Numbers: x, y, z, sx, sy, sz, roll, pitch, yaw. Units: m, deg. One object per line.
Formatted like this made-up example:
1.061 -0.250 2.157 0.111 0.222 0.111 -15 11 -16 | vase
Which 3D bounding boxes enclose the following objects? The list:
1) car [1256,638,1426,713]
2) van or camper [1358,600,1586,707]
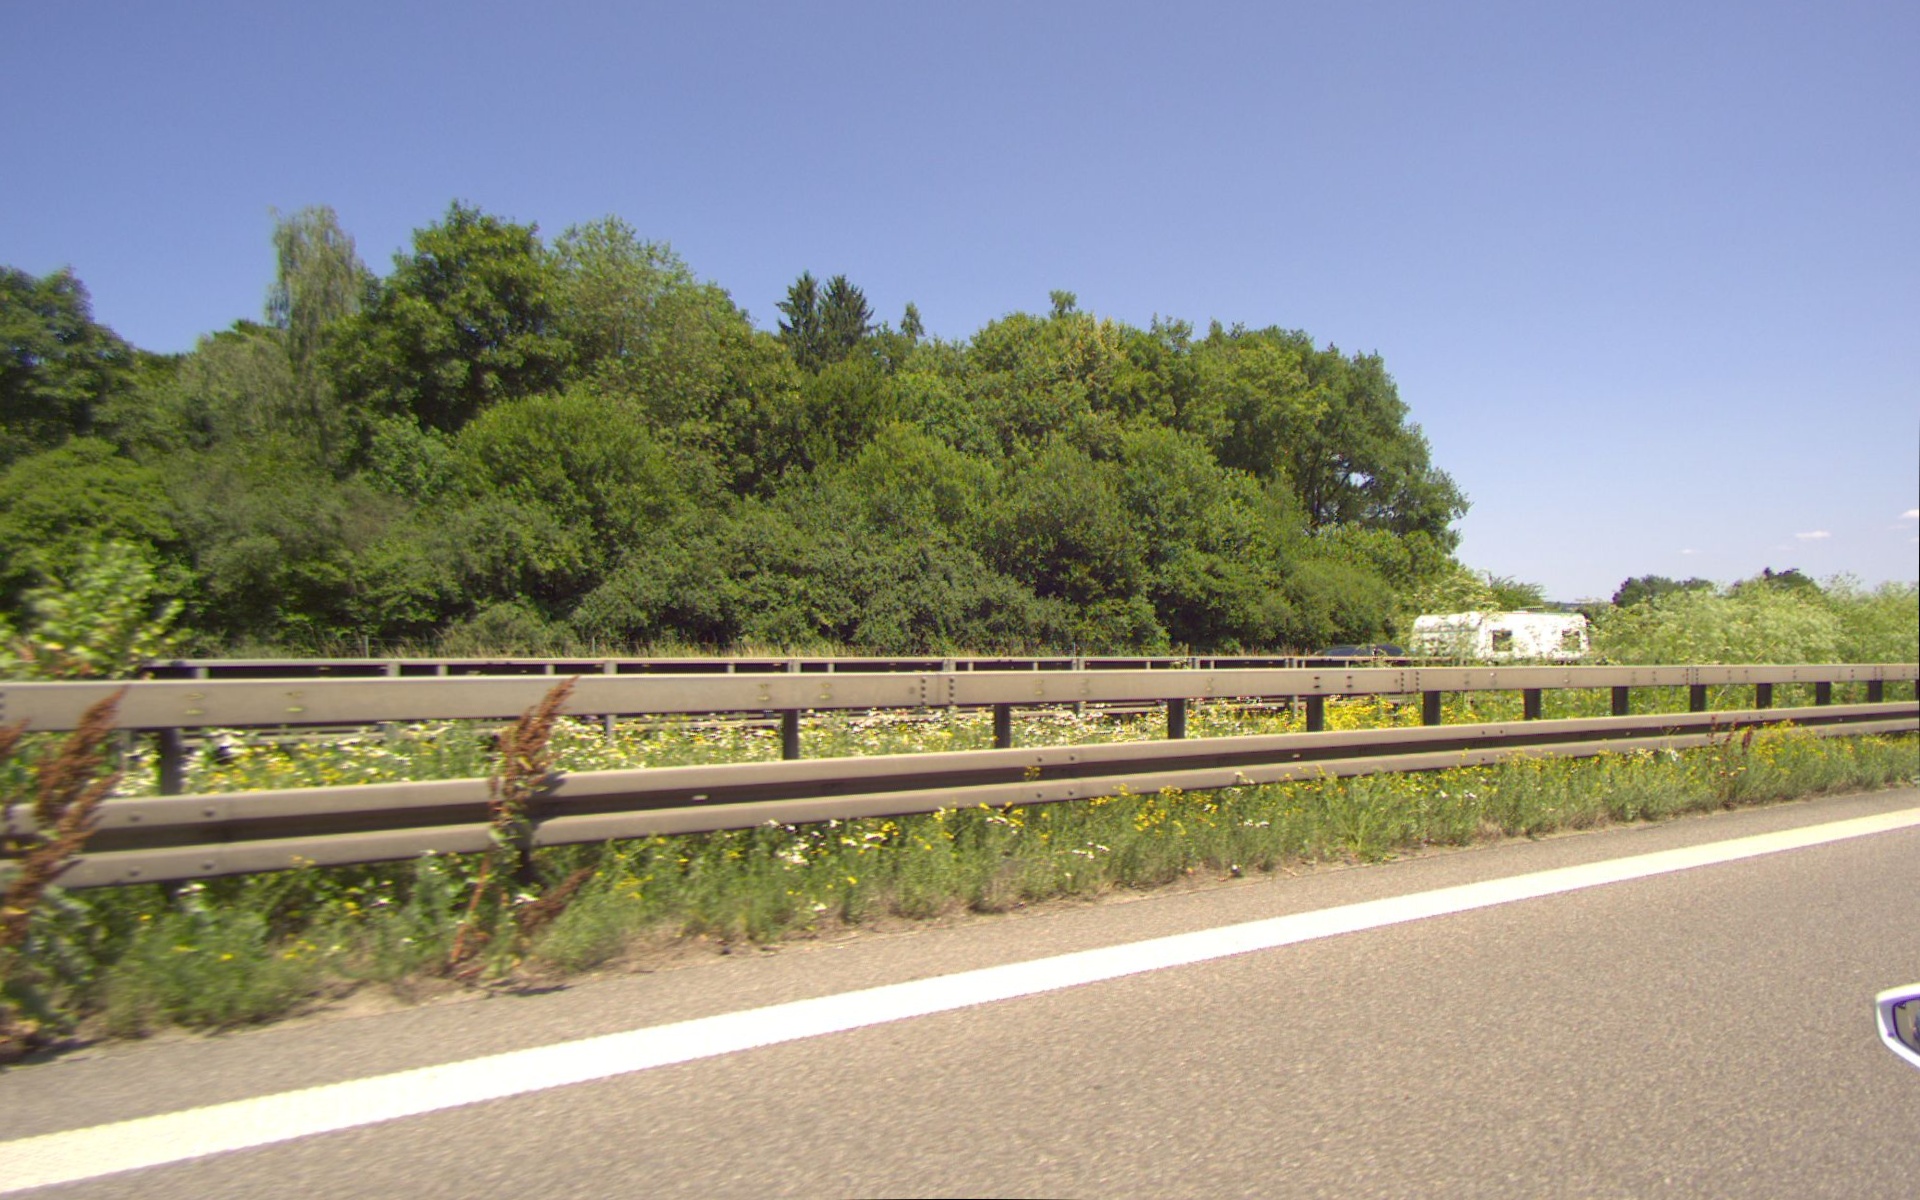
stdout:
10.284 1.968 27.052 4.588 1.795 1.786 1 0 -30 | car
15.488 1.532 30.184 7.600 2.904 2.310 1 0 -30 | van or camper
